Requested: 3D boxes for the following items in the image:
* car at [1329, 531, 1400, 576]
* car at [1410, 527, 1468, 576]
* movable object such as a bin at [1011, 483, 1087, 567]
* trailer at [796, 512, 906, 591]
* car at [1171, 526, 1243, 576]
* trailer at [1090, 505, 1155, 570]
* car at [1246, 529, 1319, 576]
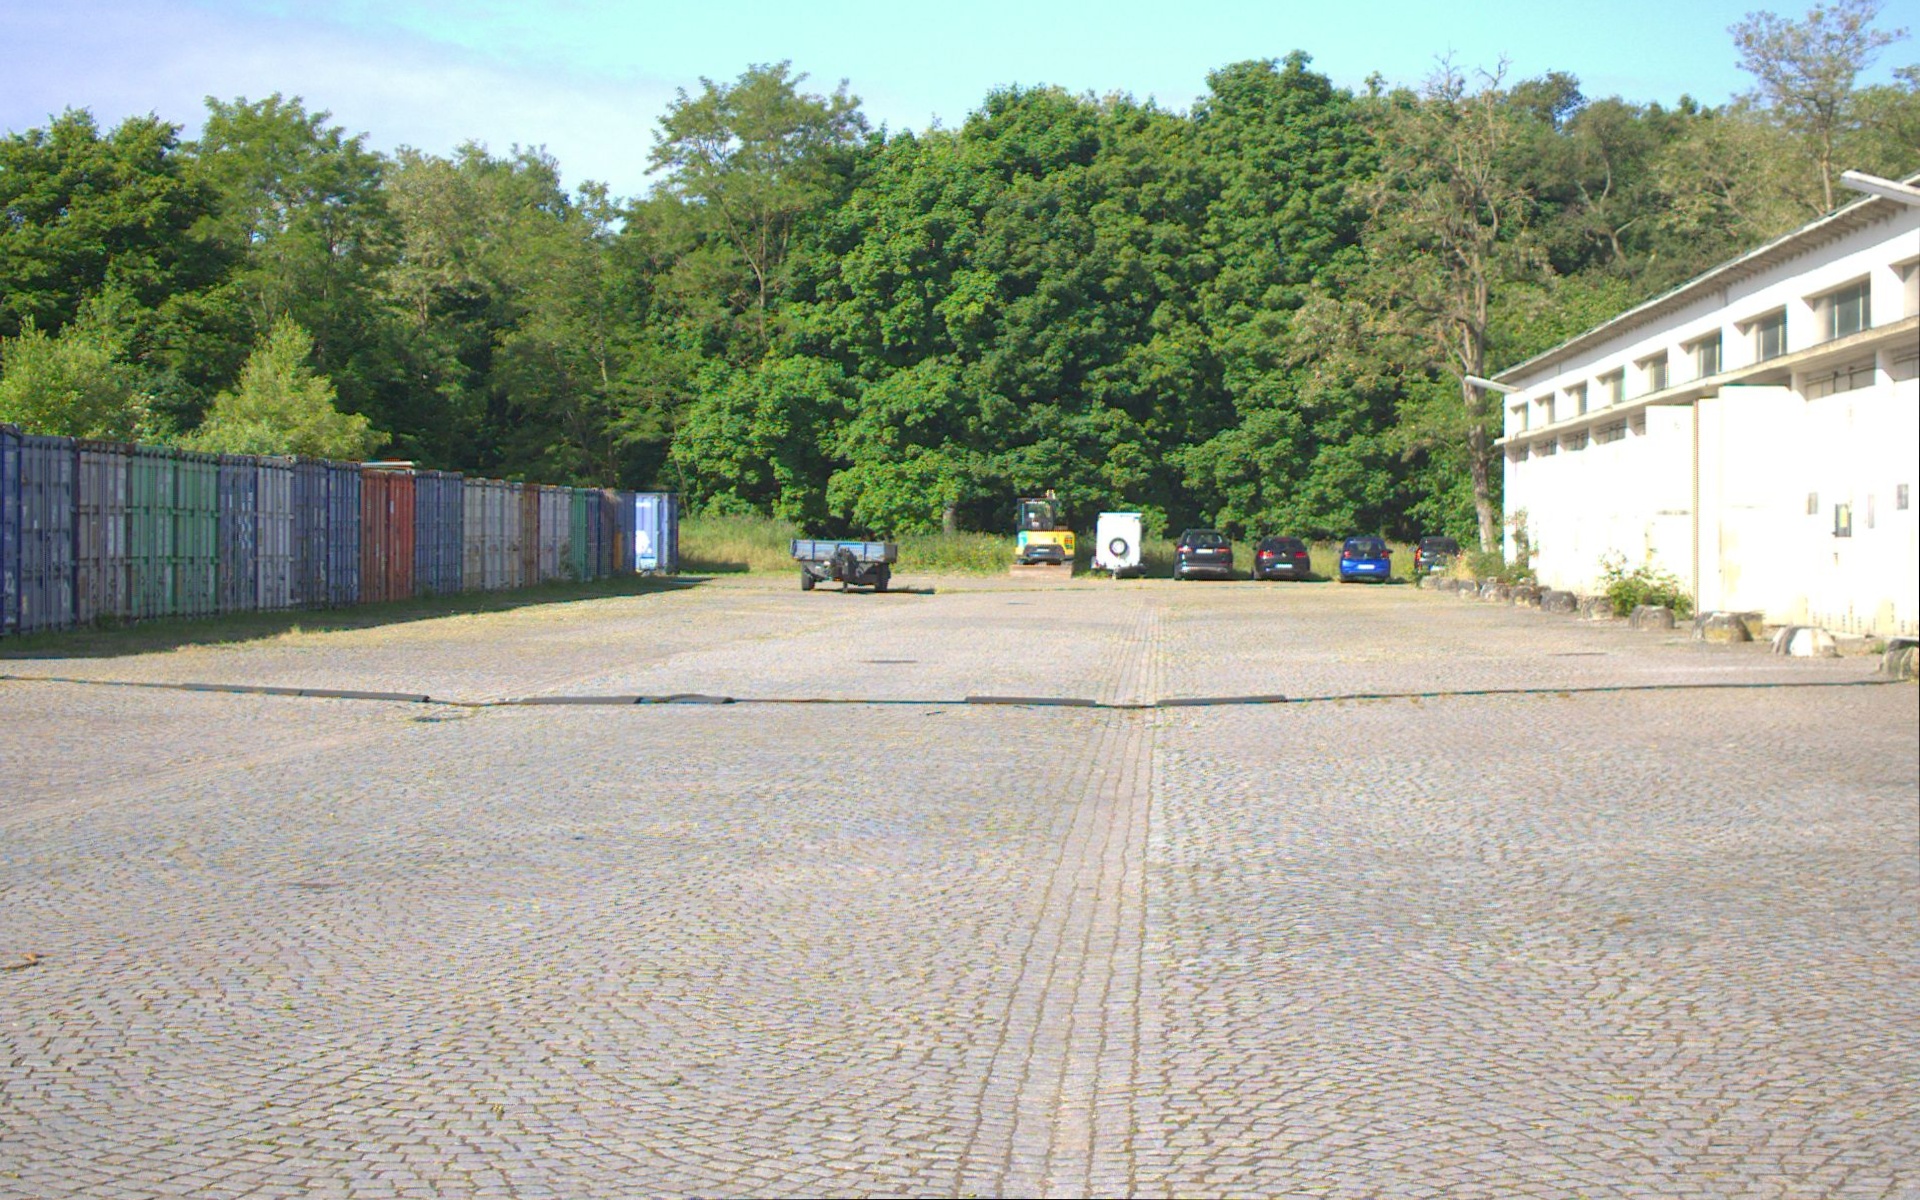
[{"bbox_3d":[12.979,-1.492,110.109,1.994,1.415,3.998,0,1,10],"label":"car"},{"bbox_3d":[15.520,-1.575,111.299,1.686,1.558,3.998,0,1,10],"label":"car"},{"bbox_3d":[2.937,-2.453,112.533,1.994,2.609,3.999,2,1,7],"label":"movable object such as a bin"},{"bbox_3d":[-2.929,-1.336,93.481,2.407,2.007,4.172,2,1,5],"label":"trailer"},{"bbox_3d":[7.936,-1.582,110.243,1.862,1.580,3.998,0,1,10],"label":"car"},{"bbox_3d":[5.314,-2.043,112.108,1.794,2.083,3.970,0,1,7],"label":"trailer"},{"bbox_3d":[10.351,-1.535,110.280,1.994,1.457,3.998,0,1,10],"label":"car"}]
